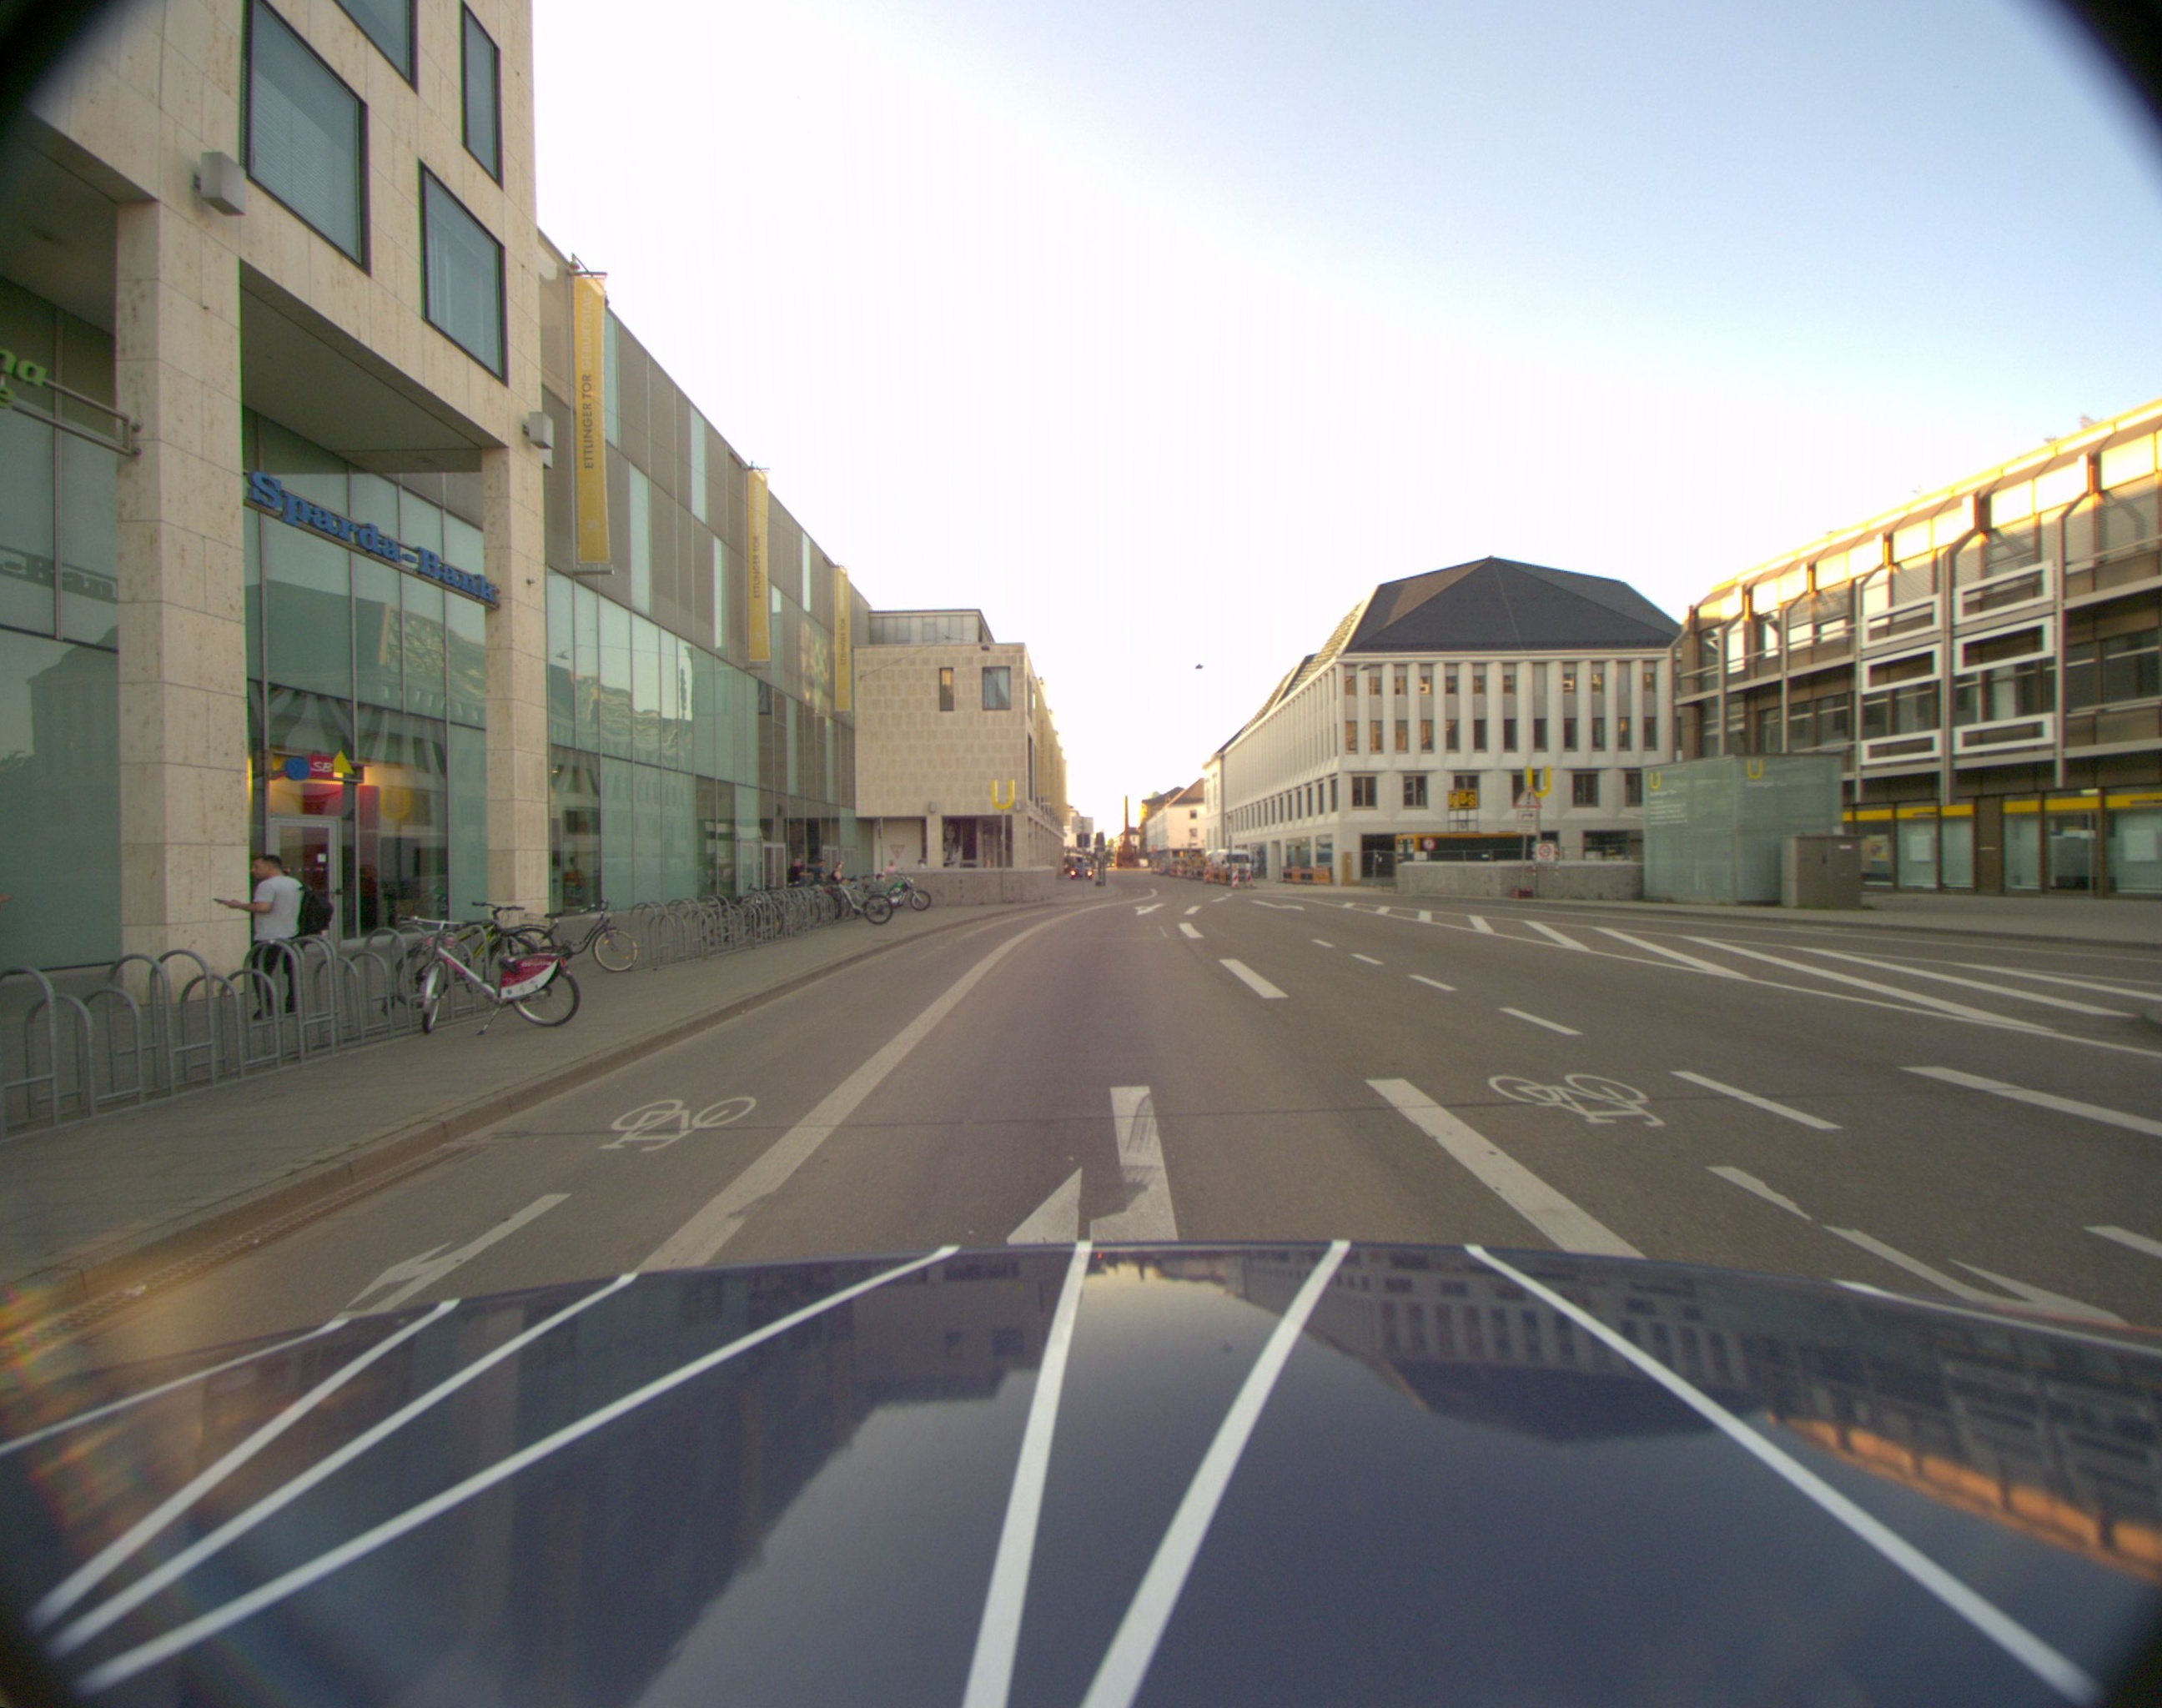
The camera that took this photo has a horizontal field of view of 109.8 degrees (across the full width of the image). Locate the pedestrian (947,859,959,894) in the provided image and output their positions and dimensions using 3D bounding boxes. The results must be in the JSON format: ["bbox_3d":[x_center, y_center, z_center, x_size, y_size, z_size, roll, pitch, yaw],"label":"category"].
[{"bbox_3d":[-6.384,1.127,37.885,0.504,1.733,0.493,-1,0,3],"label":"pedestrian"}]

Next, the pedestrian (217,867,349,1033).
[{"bbox_3d":[-8.406,0.982,8.028,0.707,1.682,0.630,-1,0,3],"label":"pedestrian"}]

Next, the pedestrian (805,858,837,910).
[{"bbox_3d":[-8.673,0.997,25.348,0.697,1.686,0.821,-1,0,8],"label":"pedestrian"}]

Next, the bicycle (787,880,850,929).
[{"bbox_3d":[-6.600,1.266,19.165,1.345,1.157,0.518,-3,0,-1],"label":"bicycle"}]

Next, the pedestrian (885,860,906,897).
[{"bbox_3d":[-8.931,1.164,36.542,0.793,1.733,0.657,-1,0,3],"label":"pedestrian"}]

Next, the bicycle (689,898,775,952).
[{"bbox_3d":[-6.652,1.345,14.506,1.345,0.927,0.518,-3,0,-1],"label":"bicycle"}]

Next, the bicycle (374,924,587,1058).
[{"bbox_3d":[-5.396,1.220,6.869,1.518,1.057,0.466,-3,0,1],"label":"bicycle"}]

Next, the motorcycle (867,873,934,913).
[{"bbox_3d":[-5.707,1.243,24.087,2.007,1.217,0.480,-1,0,-2],"label":"motorcycle"}]

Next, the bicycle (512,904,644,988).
[{"bbox_3d":[-7.300,1.316,11.075,1.447,1.058,0.580,-3,0,-10],"label":"bicycle"}]

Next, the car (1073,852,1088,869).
[{"bbox_3d":[-0.007,0.856,100.455,1.798,2.198,3.671,-1,0,2],"label":"car"}]

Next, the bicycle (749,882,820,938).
[{"bbox_3d":[-6.656,1.239,17.080,1.345,1.157,0.518,-3,0,-1],"label":"bicycle"}]

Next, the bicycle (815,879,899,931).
[{"bbox_3d":[-5.386,1.220,18.322,1.838,1.140,0.466,-3,0,1],"label":"bicycle"}]

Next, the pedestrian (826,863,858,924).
[{"bbox_3d":[-6.626,1.078,21.051,0.809,1.633,0.646,-1,0,-18],"label":"pedestrian"}]

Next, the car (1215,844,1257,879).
[{"bbox_3d":[11.990,0.591,59.165,2.141,2.540,6.050,-1,0,1],"label":"car"}]

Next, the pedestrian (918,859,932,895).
[{"bbox_3d":[-7.540,1.109,36.676,0.494,1.733,0.657,-1,0,3],"label":"pedestrian"}]

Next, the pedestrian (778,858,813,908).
[{"bbox_3d":[-9.481,0.945,25.256,0.740,1.638,0.821,-1,0,8],"label":"pedestrian"}]

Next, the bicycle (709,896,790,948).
[{"bbox_3d":[-6.593,1.354,15.151,1.345,0.927,0.518,-3,0,-1],"label":"bicycle"}]

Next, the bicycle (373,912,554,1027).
[{"bbox_3d":[-6.795,1.259,8.395,1.518,1.117,0.581,-3,0,4],"label":"bicycle"}]

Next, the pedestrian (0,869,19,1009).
[{"bbox_3d":[-13.014,1.000,8.725,0.629,1.642,0.708,-1,0,2],"label":"pedestrian"}]

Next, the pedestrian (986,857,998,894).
[{"bbox_3d":[-4.272,1.032,36.470,0.454,1.733,0.493,-1,0,3],"label":"pedestrian"}]

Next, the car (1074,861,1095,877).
[{"bbox_3d":[0.343,1.299,67.892,1.798,1.365,3.671,-1,0,2],"label":"car"}]
